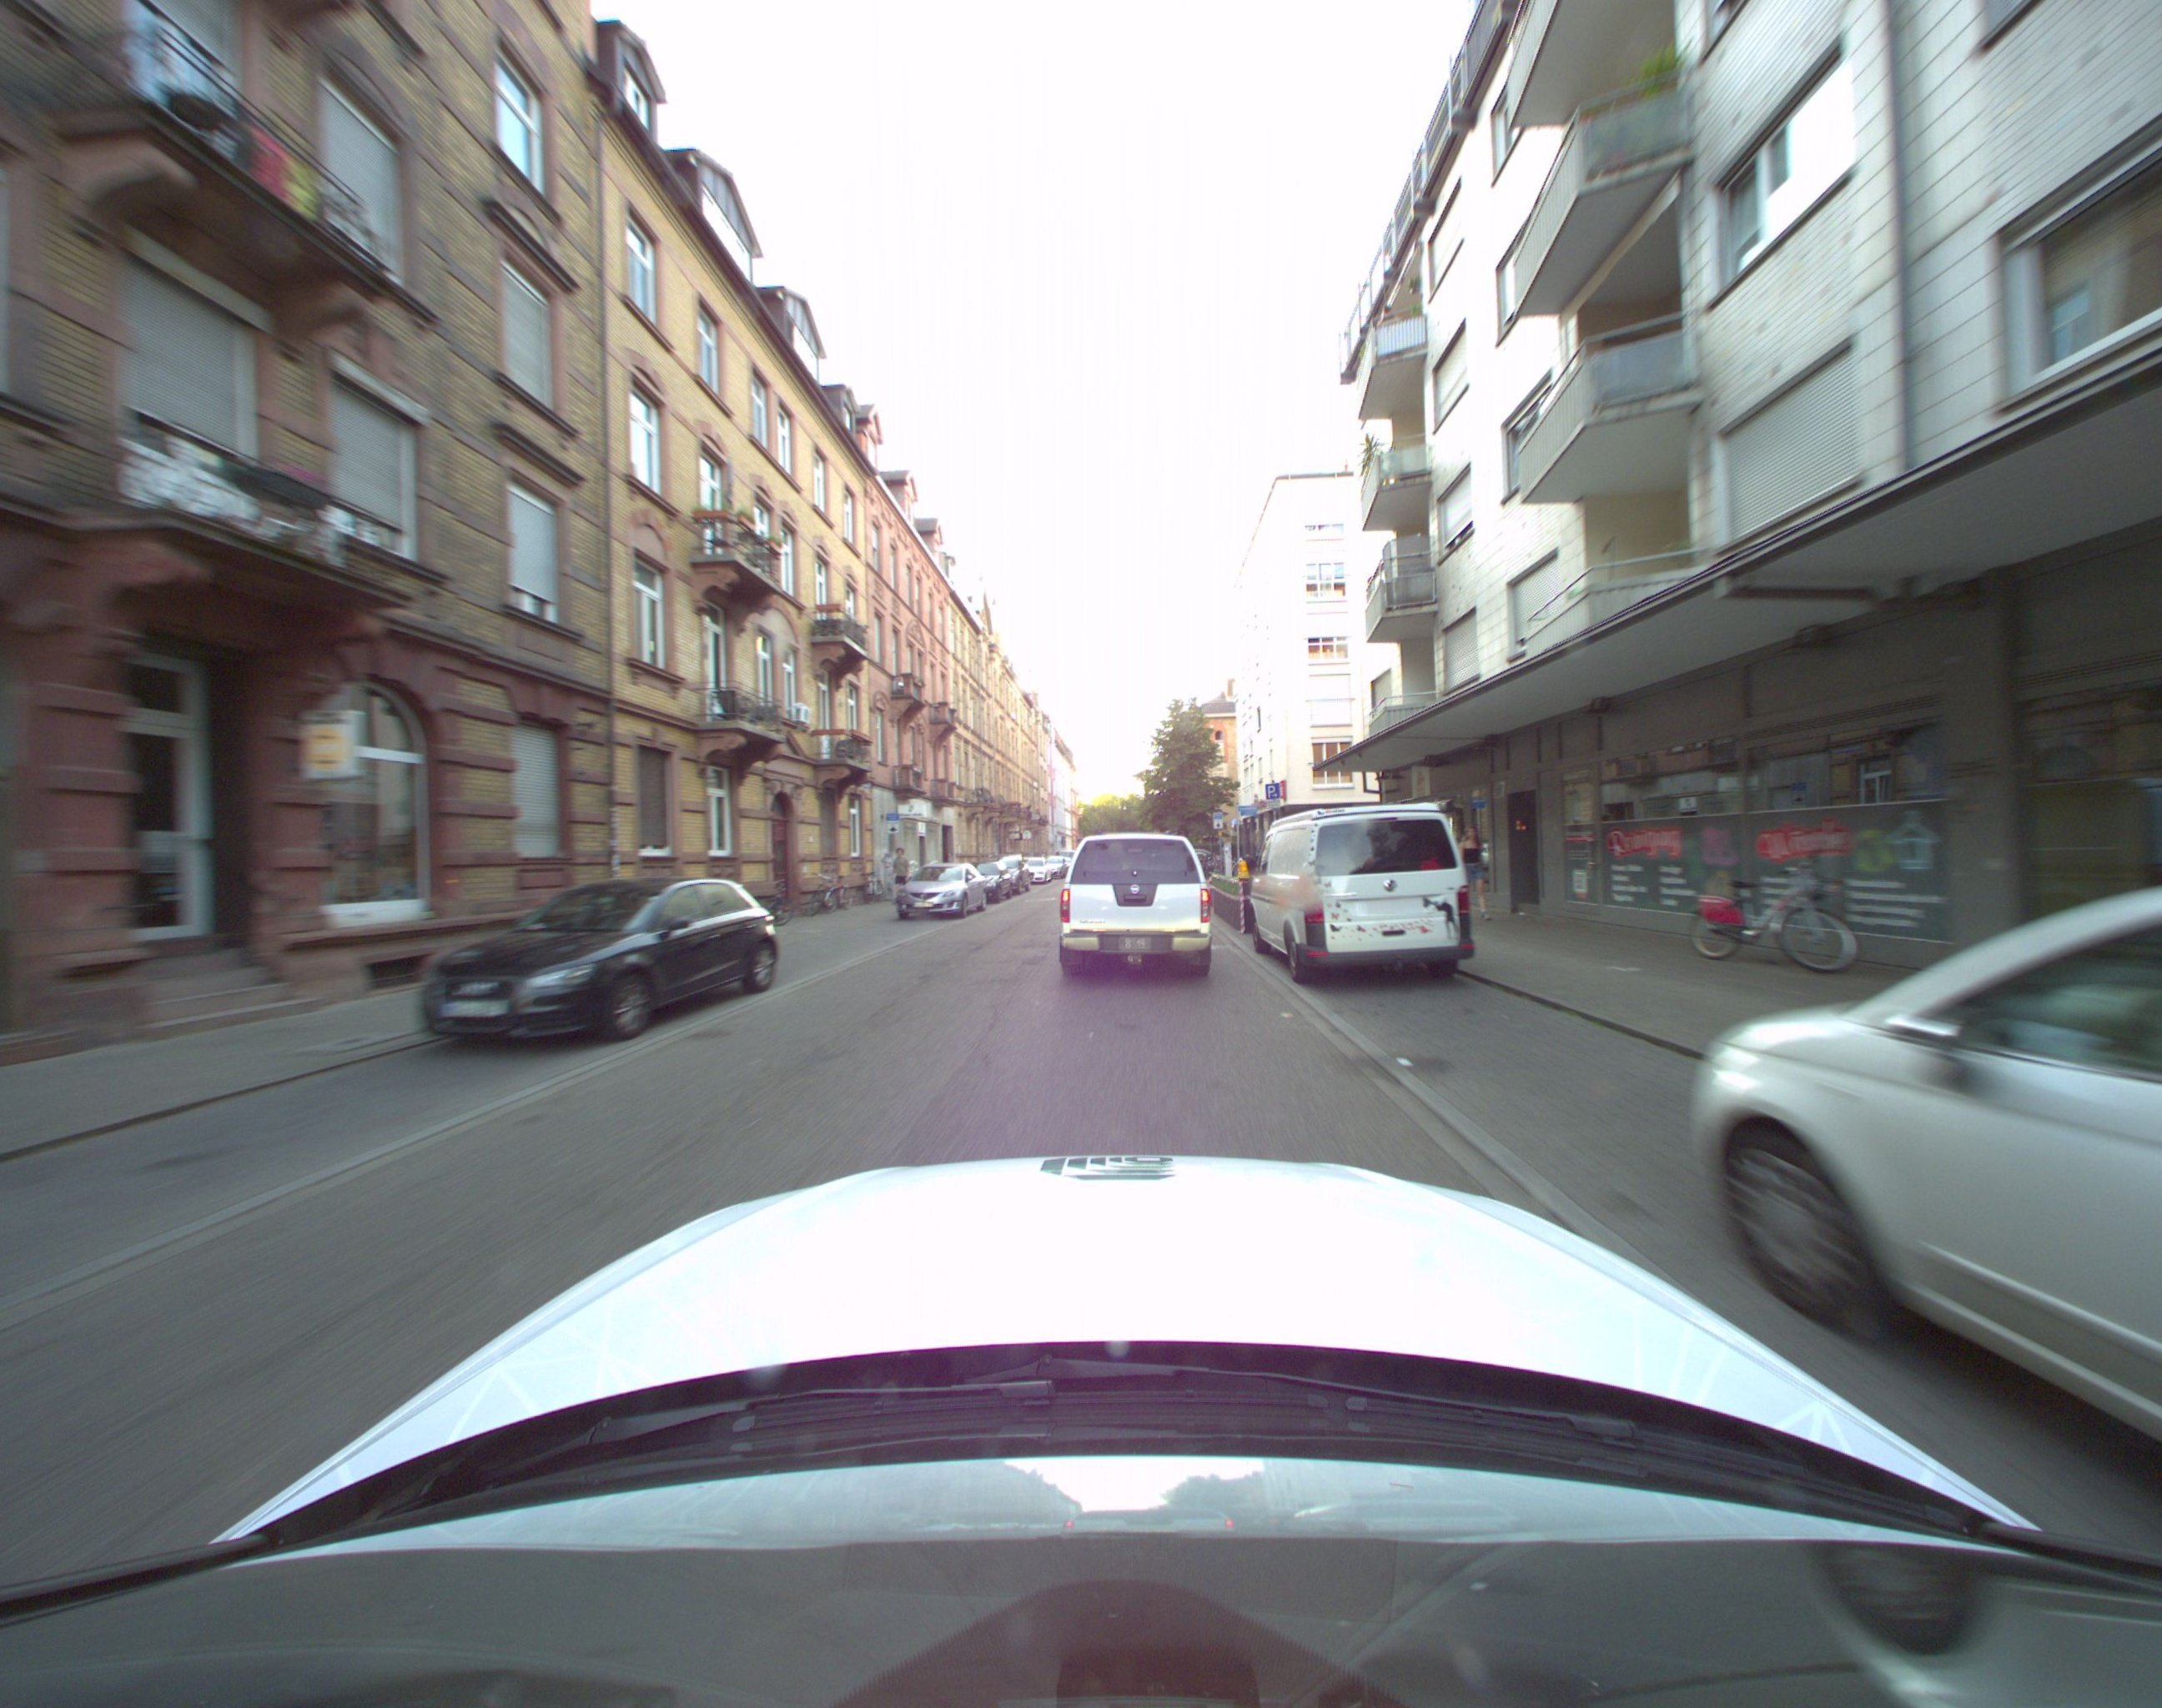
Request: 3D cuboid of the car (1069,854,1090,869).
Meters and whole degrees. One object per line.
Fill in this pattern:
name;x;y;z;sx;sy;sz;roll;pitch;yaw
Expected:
car;-0.134;0.783;86.479;1.826;1.458;4.211;1;0;4

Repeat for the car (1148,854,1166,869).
car;8.089;0.766;86.752;1.669;1.429;4.483;-6;0;4

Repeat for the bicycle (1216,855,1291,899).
bicycle;4.844;0.651;22.977;1.920;1.134;0.661;-5;-1;41

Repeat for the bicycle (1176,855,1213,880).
bicycle;5.726;0.694;41.140;1.716;1.118;0.707;-4;-1;1

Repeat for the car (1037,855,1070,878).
car;-1.793;0.799;54.034;1.709;1.457;4.005;0;0;5

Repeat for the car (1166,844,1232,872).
car;8.187;0.289;56.765;4.381;1.647;1.748;-4;0;3

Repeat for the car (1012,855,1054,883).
car;-2.562;0.794;44.707;1.750;1.412;4.513;-1;0;4

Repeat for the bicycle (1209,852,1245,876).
bicycle;7.625;0.508;42.614;1.713;1.118;0.655;-4;-1;6

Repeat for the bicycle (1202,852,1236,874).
bicycle;7.609;0.490;44.994;1.717;1.118;0.653;-4;-1;0

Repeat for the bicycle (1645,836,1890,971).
bicycle;7.038;0.475;8.483;0.910;1.195;1.705;-4;-1;-10

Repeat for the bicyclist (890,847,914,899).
bicyclist;-6.091;0.653;27.740;0.708;1.730;0.840;-1;-1;-10

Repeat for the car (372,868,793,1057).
car;-4.722;0.908;8.485;1.685;1.420;3.861;-1;0;6

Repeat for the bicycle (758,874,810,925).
bicycle;-7.229;1.086;19.911;0.736;1.123;1.609;-1;0;-3

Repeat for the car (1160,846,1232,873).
car;7.593;0.371;54.025;4.413;1.455;1.778;-4;0;-3

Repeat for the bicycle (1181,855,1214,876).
bicycle;6.699;0.674;46.887;1.763;1.022;0.566;-6;-1;6

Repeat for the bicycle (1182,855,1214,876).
bicycle;6.645;0.672;46.268;1.711;1.031;0.668;-6;-1;6

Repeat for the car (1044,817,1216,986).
car;0.817;0.543;11.635;1.901;1.853;5.279;0;-1;6

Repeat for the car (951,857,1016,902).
car;-3.399;0.869;28.935;1.578;1.420;3.701;-1;0;4

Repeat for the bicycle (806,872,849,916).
bicycle;-7.192;1.118;23.195;0.546;1.123;1.761;1;0;4

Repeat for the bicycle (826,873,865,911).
bicycle;-7.091;1.130;24.596;0.546;1.037;1.761;1;0;4

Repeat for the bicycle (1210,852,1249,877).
bicycle;7.267;0.512;39.771;1.722;1.131;0.577;-4;-1;-9

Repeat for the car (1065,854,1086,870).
car;-0.497;0.763;76.393;1.729;1.418;4.782;0;-1;3

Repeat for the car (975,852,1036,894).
car;-3.115;0.734;34.361;1.845;1.633;4.450;-1;0;4

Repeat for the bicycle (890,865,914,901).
bicycle;-6.082;0.977;27.704;0.708;1.196;1.736;-1;-1;-10

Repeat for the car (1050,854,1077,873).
car;-1.309;0.692;61.930;1.777;1.423;4.487;0;0;2

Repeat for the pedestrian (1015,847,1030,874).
pedestrian;-3.818;0.448;53.300;0.549;1.755;1.027;-2;-2;19

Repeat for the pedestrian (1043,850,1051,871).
pedestrian;-2.972;0.562;71.210;0.603;1.772;0.777;1;0;-1

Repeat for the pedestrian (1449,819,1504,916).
pedestrian;7.140;0.243;14.730;0.703;1.665;0.748;-4;-2;17

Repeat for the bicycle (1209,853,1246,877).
bicycle;7.450;0.557;41.462;1.713;1.054;0.655;-4;-1;6

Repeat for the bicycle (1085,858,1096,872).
bicycle;0.812;0.890;65.567;0.641;1.081;2.172;-3;0;5

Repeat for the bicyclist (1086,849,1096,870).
bicyclist;0.781;0.433;65.583;0.641;1.621;0.919;-3;0;5

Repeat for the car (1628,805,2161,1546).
car;2.969;0.626;1.512;1.586;1.501;3.424;-4;0;1

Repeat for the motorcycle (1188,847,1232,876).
motorcycle;7.743;0.427;48.997;2.479;1.549;0.825;-4;-1;6

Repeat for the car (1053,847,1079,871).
car;-1.180;0.402;67.352;1.986;1.924;4.952;0;0;1

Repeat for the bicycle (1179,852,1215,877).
bicycle;6.405;0.602;44.909;1.858;1.182;0.744;-6;-1;8

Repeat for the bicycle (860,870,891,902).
bicycle;-7.071;1.101;28.124;0.447;1.022;1.850;2;0;4

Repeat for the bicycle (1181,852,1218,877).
bicycle;6.417;0.584;44.064;1.776;1.182;0.737;-6;-1;14

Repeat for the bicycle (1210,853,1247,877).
bicycle;7.371;0.555;40.793;1.713;1.054;0.655;-4;-1;6

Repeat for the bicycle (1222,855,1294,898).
bicycle;5.183;0.664;23.903;1.920;1.134;0.661;-5;-1;41

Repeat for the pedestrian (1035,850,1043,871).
pedestrian;-3.655;0.567;70.938;0.578;1.771;0.997;1;1;0

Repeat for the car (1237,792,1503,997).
car;3.421;0.405;10.816;1.950;1.973;5.008;-4;0;4

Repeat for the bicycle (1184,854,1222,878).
bicycle;6.262;0.635;41.903;1.802;1.118;0.707;-4;-1;1

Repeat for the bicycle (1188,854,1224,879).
bicycle;6.167;0.610;40.255;1.713;1.118;0.708;-4;-1;6

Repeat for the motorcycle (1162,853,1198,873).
motorcycle;6.063;0.579;49.992;2.059;1.078;0.661;-4;-1;-12

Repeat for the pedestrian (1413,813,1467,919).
pedestrian;6.494;0.213;14.774;0.703;1.828;0.864;-4;-2;17

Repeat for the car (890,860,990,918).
car;-3.776;0.898;22.609;1.715;1.420;4.586;-1;0;3
